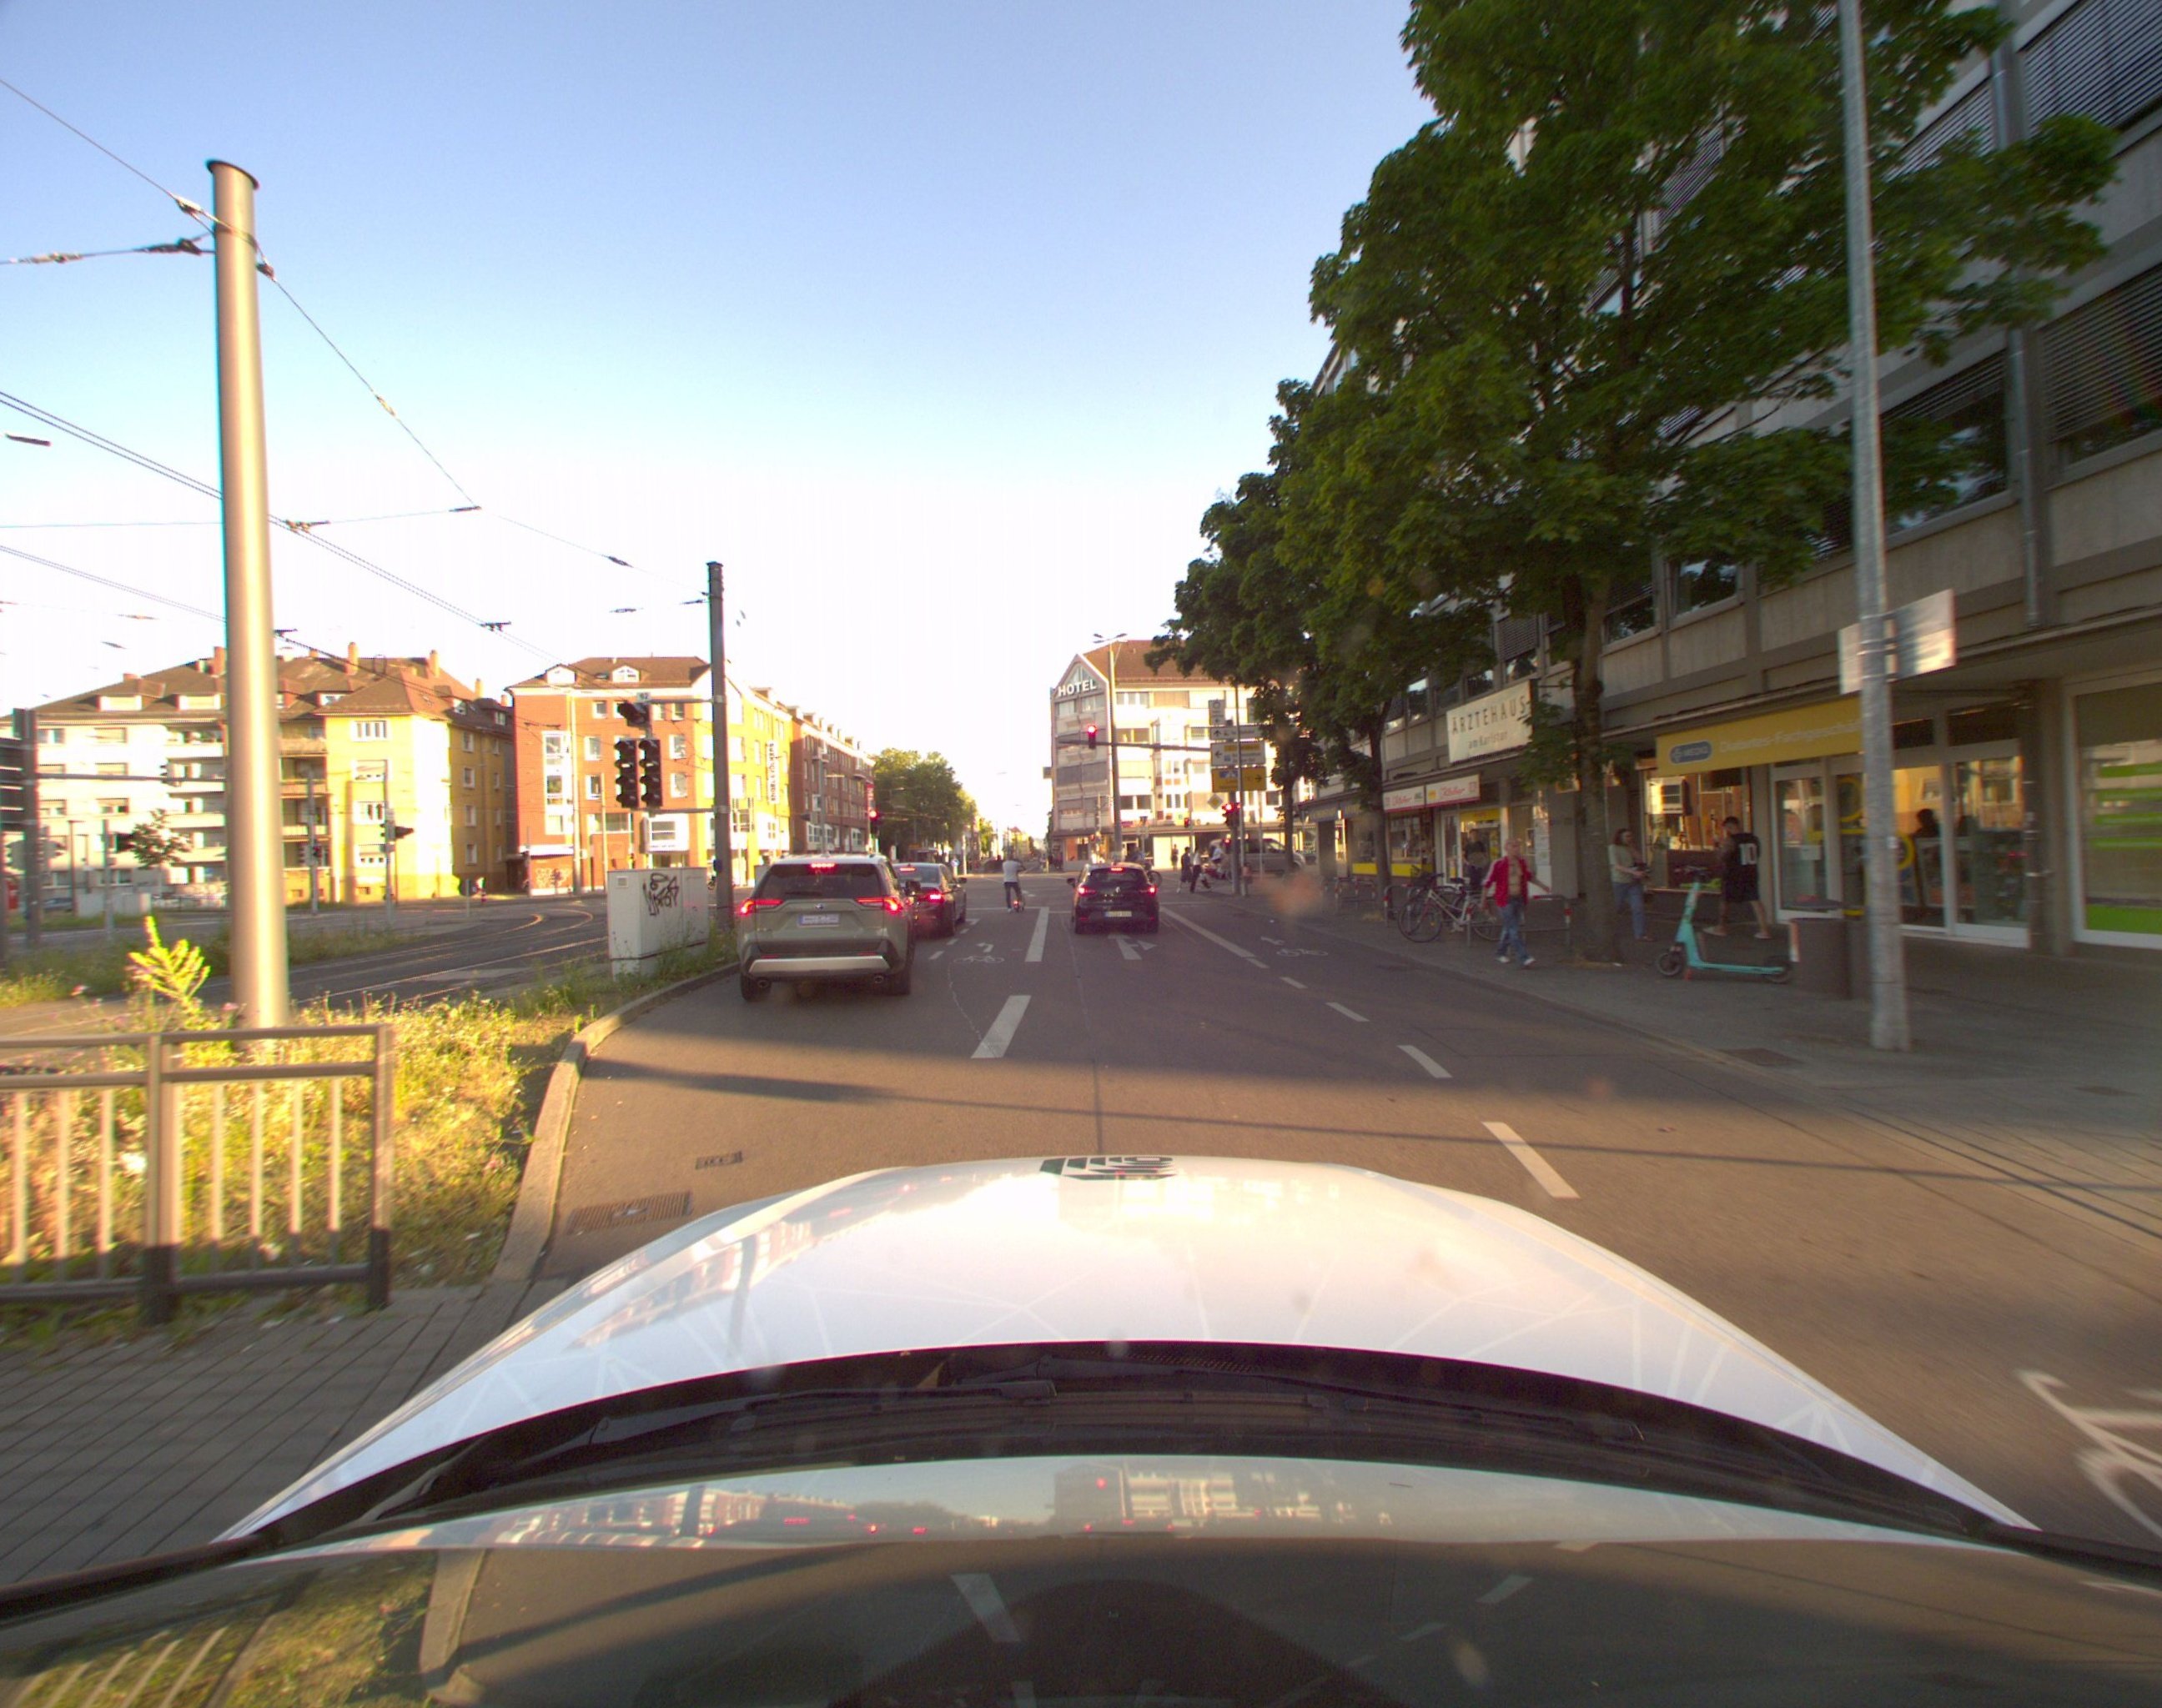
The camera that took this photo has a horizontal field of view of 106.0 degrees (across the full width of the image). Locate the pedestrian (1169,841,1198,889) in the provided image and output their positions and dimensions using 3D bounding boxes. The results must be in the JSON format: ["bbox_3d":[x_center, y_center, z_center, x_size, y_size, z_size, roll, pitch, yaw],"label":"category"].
[{"bbox_3d":[3.965,0.418,31.412,0.719,1.830,1.004,-1,-1,32],"label":"pedestrian"}]

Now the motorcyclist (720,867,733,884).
[{"bbox_3d":[-26.335,1.584,60.523,0.703,1.220,0.786,0,-1,-9],"label":"motorcyclist"}]

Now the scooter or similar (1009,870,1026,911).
[{"bbox_3d":[-1.772,1.014,22.684,0.278,1.091,1.258,-1,-1,4],"label":"scooter or similar"}]

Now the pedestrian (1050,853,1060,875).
[{"bbox_3d":[-2.941,1.122,91.955,1.082,2.365,1.055,-1,-1,-2],"label":"pedestrian"}]

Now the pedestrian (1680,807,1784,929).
[{"bbox_3d":[9.291,0.196,11.658,0.744,1.684,0.894,-1,-1,-1],"label":"pedestrian"}]

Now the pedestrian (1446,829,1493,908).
[{"bbox_3d":[9.029,0.332,18.961,0.742,1.778,0.802,-1,-1,7],"label":"pedestrian"}]

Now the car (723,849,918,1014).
[{"bbox_3d":[-3.067,0.779,10.408,1.836,1.636,4.076,-1,0,-10],"label":"car"}]

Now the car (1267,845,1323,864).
[{"bbox_3d":[17.472,0.044,66.634,3.980,1.476,1.997,-1,-1,-5],"label":"car"}]

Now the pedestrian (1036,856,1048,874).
[{"bbox_3d":[-3.607,0.977,75.204,0.727,1.623,0.763,-2,0,-40],"label":"pedestrian"}]

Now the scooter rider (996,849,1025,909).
[{"bbox_3d":[-1.967,0.704,22.735,0.658,1.647,0.662,-1,-1,6],"label":"scooter rider"}]

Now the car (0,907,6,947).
[{"bbox_3d":[-44.229,2.902,30.640,4.339,1.551,1.993,-2,0,-10],"label":"car"}]

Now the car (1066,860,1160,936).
[{"bbox_3d":[0.595,0.880,17.966,1.760,1.440,3.997,-1,0,-2],"label":"car"}]

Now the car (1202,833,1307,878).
[{"bbox_3d":[8.592,0.053,40.511,4.689,2.013,1.991,-2,0,-13],"label":"car"}]

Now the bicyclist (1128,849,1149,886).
[{"bbox_3d":[2.462,0.581,34.912,0.704,1.511,0.548,-4,0,-9],"label":"bicyclist"}]

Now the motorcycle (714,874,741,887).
[{"bbox_3d":[-26.270,1.951,60.520,1.832,0.908,0.431,-1,-1,-7],"label":"motorcycle"}]

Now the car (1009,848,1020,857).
[{"bbox_3d":[-13.413,-0.277,164.171,1.988,1.901,3.997,-1,-1,-1],"label":"car"}]

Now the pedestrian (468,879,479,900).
[{"bbox_3d":[-47.743,2.757,64.015,0.549,1.642,0.500,-1,-1,-4],"label":"pedestrian"}]

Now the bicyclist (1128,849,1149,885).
[{"bbox_3d":[2.504,0.559,35.622,0.704,1.511,0.548,-4,0,-9],"label":"bicyclist"}]

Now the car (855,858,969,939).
[{"bbox_3d":[-3.463,0.840,17.416,1.741,1.460,4.404,-1,0,-4],"label":"car"}]

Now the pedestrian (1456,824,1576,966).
[{"bbox_3d":[5.504,0.495,10.342,0.828,1.685,1.039,0,-1,-26],"label":"pedestrian"}]

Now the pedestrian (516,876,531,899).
[{"bbox_3d":[-42.071,2.543,61.448,0.682,1.743,0.671,-2,-2,19],"label":"pedestrian"}]

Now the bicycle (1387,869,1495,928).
[{"bbox_3d":[6.187,0.763,14.036,1.650,0.974,0.387,-1,-1,4],"label":"bicycle"}]

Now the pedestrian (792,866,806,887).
[{"bbox_3d":[-27.318,2.132,78.986,1.091,2.014,0.907,-1,-1,-5],"label":"pedestrian"}]

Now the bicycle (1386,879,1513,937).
[{"bbox_3d":[5.896,0.865,13.079,1.809,0.891,0.415,-1,-1,4],"label":"bicycle"}]

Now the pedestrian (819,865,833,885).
[{"bbox_3d":[-26.332,2.184,84.038,1.091,2.014,1.161,-1,-1,-5],"label":"pedestrian"}]

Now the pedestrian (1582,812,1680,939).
[{"bbox_3d":[8.053,0.303,11.965,0.744,1.778,0.972,-1,-1,-1],"label":"pedestrian"}]

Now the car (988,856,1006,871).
[{"bbox_3d":[-10.054,1.075,97.645,1.806,1.746,3.713,-1,-1,-1],"label":"car"}]

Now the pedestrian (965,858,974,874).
[{"bbox_3d":[-11.121,1.202,81.287,0.699,1.664,0.807,-1,-1,-1],"label":"pedestrian"}]

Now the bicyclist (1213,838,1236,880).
[{"bbox_3d":[6.460,0.224,36.748,0.860,1.878,0.644,0,-1,-9],"label":"bicyclist"}]

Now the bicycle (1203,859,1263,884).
[{"bbox_3d":[6.860,0.776,36.801,2.639,1.099,0.434,-1,-1,-9],"label":"bicycle"}]

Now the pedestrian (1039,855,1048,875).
[{"bbox_3d":[-4.135,1.199,90.482,0.930,2.196,0.851,-1,-1,-5],"label":"pedestrian"}]

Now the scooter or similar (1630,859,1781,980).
[{"bbox_3d":[6.677,0.691,8.746,1.205,1.217,0.296,-4,-3,43],"label":"scooter or similar"}]

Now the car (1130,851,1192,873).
[{"bbox_3d":[6.341,0.654,64.727,4.545,1.620,1.994,-1,-1,-6],"label":"car"}]

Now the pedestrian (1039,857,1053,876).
[{"bbox_3d":[-3.151,1.132,74.227,0.940,1.726,0.842,0,-1,-44],"label":"pedestrian"}]

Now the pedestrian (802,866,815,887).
[{"bbox_3d":[-27.021,2.201,80.755,1.091,2.014,0.907,-1,-1,-5],"label":"pedestrian"}]

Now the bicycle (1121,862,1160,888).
[{"bbox_3d":[2.602,0.913,35.615,1.611,1.028,0.352,-2,0,-10],"label":"bicycle"}]

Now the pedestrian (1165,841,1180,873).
[{"bbox_3d":[5.205,0.166,46.424,0.744,1.778,0.800,-1,-1,0],"label":"pedestrian"}]

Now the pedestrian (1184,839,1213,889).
[{"bbox_3d":[4.420,0.386,30.602,0.719,1.830,1.004,-1,-1,31],"label":"pedestrian"}]

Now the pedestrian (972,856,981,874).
[{"bbox_3d":[-10.401,1.114,81.024,0.699,1.823,0.807,-1,-1,-1],"label":"pedestrian"}]

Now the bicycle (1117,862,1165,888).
[{"bbox_3d":[2.571,0.906,34.914,2.035,1.028,0.416,-1,0,-8],"label":"bicycle"}]
